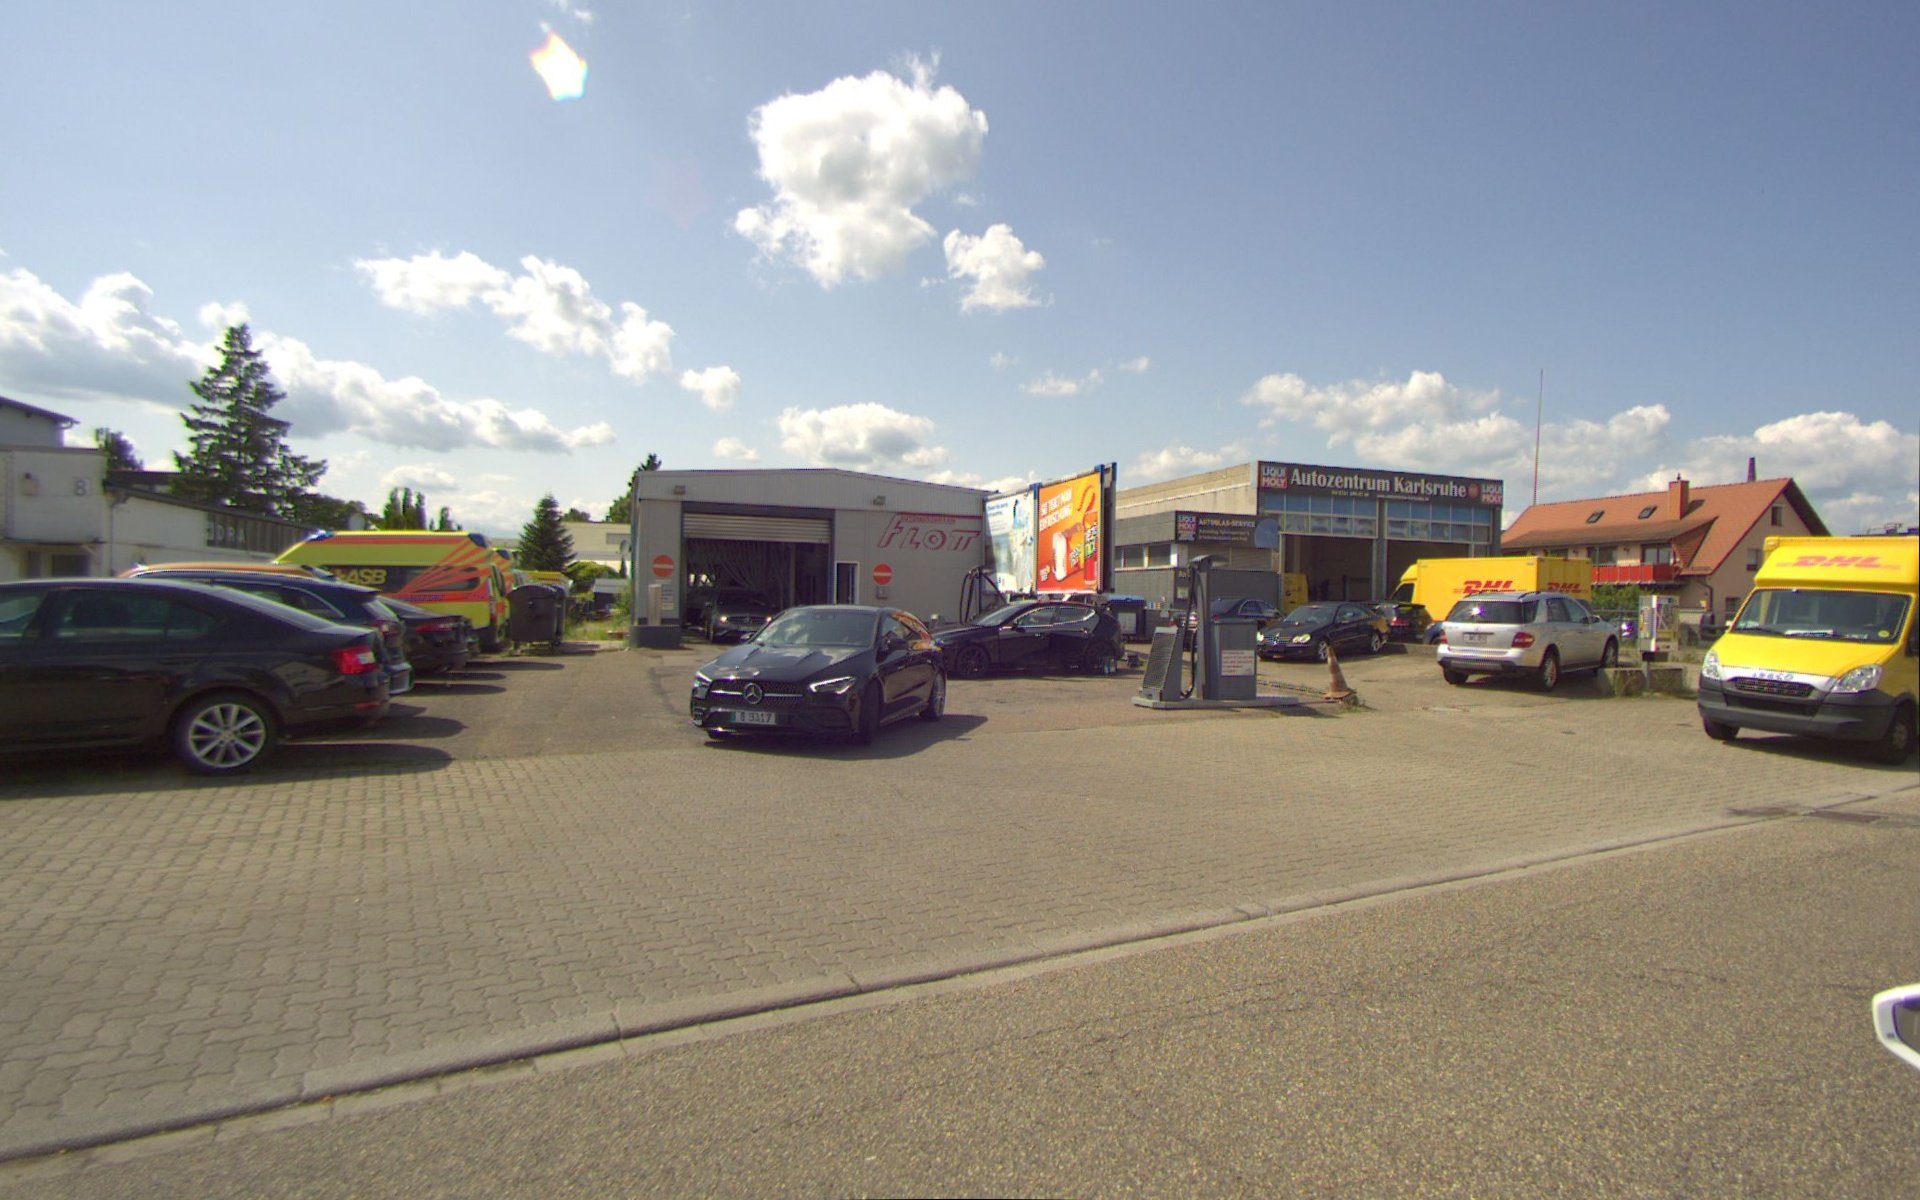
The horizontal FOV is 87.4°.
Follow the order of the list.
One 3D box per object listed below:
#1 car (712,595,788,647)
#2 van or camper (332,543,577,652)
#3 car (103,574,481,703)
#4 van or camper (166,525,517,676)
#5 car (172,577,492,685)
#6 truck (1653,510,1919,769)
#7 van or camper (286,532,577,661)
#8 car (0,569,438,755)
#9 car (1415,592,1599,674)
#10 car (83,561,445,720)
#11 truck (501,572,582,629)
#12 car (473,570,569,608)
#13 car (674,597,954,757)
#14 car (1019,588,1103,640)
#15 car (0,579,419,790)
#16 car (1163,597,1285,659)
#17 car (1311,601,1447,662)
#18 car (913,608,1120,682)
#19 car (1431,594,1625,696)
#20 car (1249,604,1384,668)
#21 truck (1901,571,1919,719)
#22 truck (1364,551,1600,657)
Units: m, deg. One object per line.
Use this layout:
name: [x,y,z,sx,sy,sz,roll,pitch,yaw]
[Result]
car: [-5.780,0.551,27.414,1.745,1.315,3.515,1,0,-17]
van or camper: [-12.426,-0.055,25.118,5.285,2.508,1.989,0,1,-23]
car: [-8.932,0.517,13.903,4.111,1.554,1.747,1,-1,-28]
van or camper: [-11.142,0.013,18.649,5.285,2.508,1.989,0,1,-23]
car: [-9.793,0.496,16.089,4.107,1.554,1.749,1,-1,-25]
truck: [12.705,0.483,13.914,6.984,2.895,2.210,1,1,-30]
van or camper: [-11.082,-0.058,21.545,5.285,2.508,1.989,0,1,-23]
car: [-7.502,0.529,9.773,4.208,1.554,1.745,1,0,-31]
car: [14.129,0.792,26.216,1.827,1.834,3.922,1,2,-20]
car: [-8.002,0.462,11.893,3.254,1.678,1.439,1,0,-23]
truck: [-21.708,0.036,52.235,3.747,2.851,1.744,1,0,-20]
car: [-19.435,-0.471,44.657,3.747,1.558,1.744,1,0,-20]
car: [-1.371,0.770,11.515,1.959,1.413,4.597,1,-2,8]
car: [3.352,0.456,33.899,1.537,1.613,3.504,1,0,-17]
car: [-6.744,0.567,7.670,4.531,1.429,1.745,1,0,-31]
car: [7.424,0.723,28.039,1.841,1.391,3.983,3,4,38]
car: [12.699,0.918,30.669,1.706,1.754,3.838,1,0,-19]
car: [1.091,0.833,19.969,3.692,1.307,1.890,0,1,-20]
car: [11.284,0.776,19.813,4.668,1.728,1.813,-1,1,-40]
car: [9.141,0.851,25.589,3.979,1.305,1.653,-3,3,-44]
truck: [18.813,0.806,17.404,5.992,2.446,1.984,1,0,-30]
truck: [15.736,0.113,30.907,2.488,2.888,6.594,1,0,-18]
